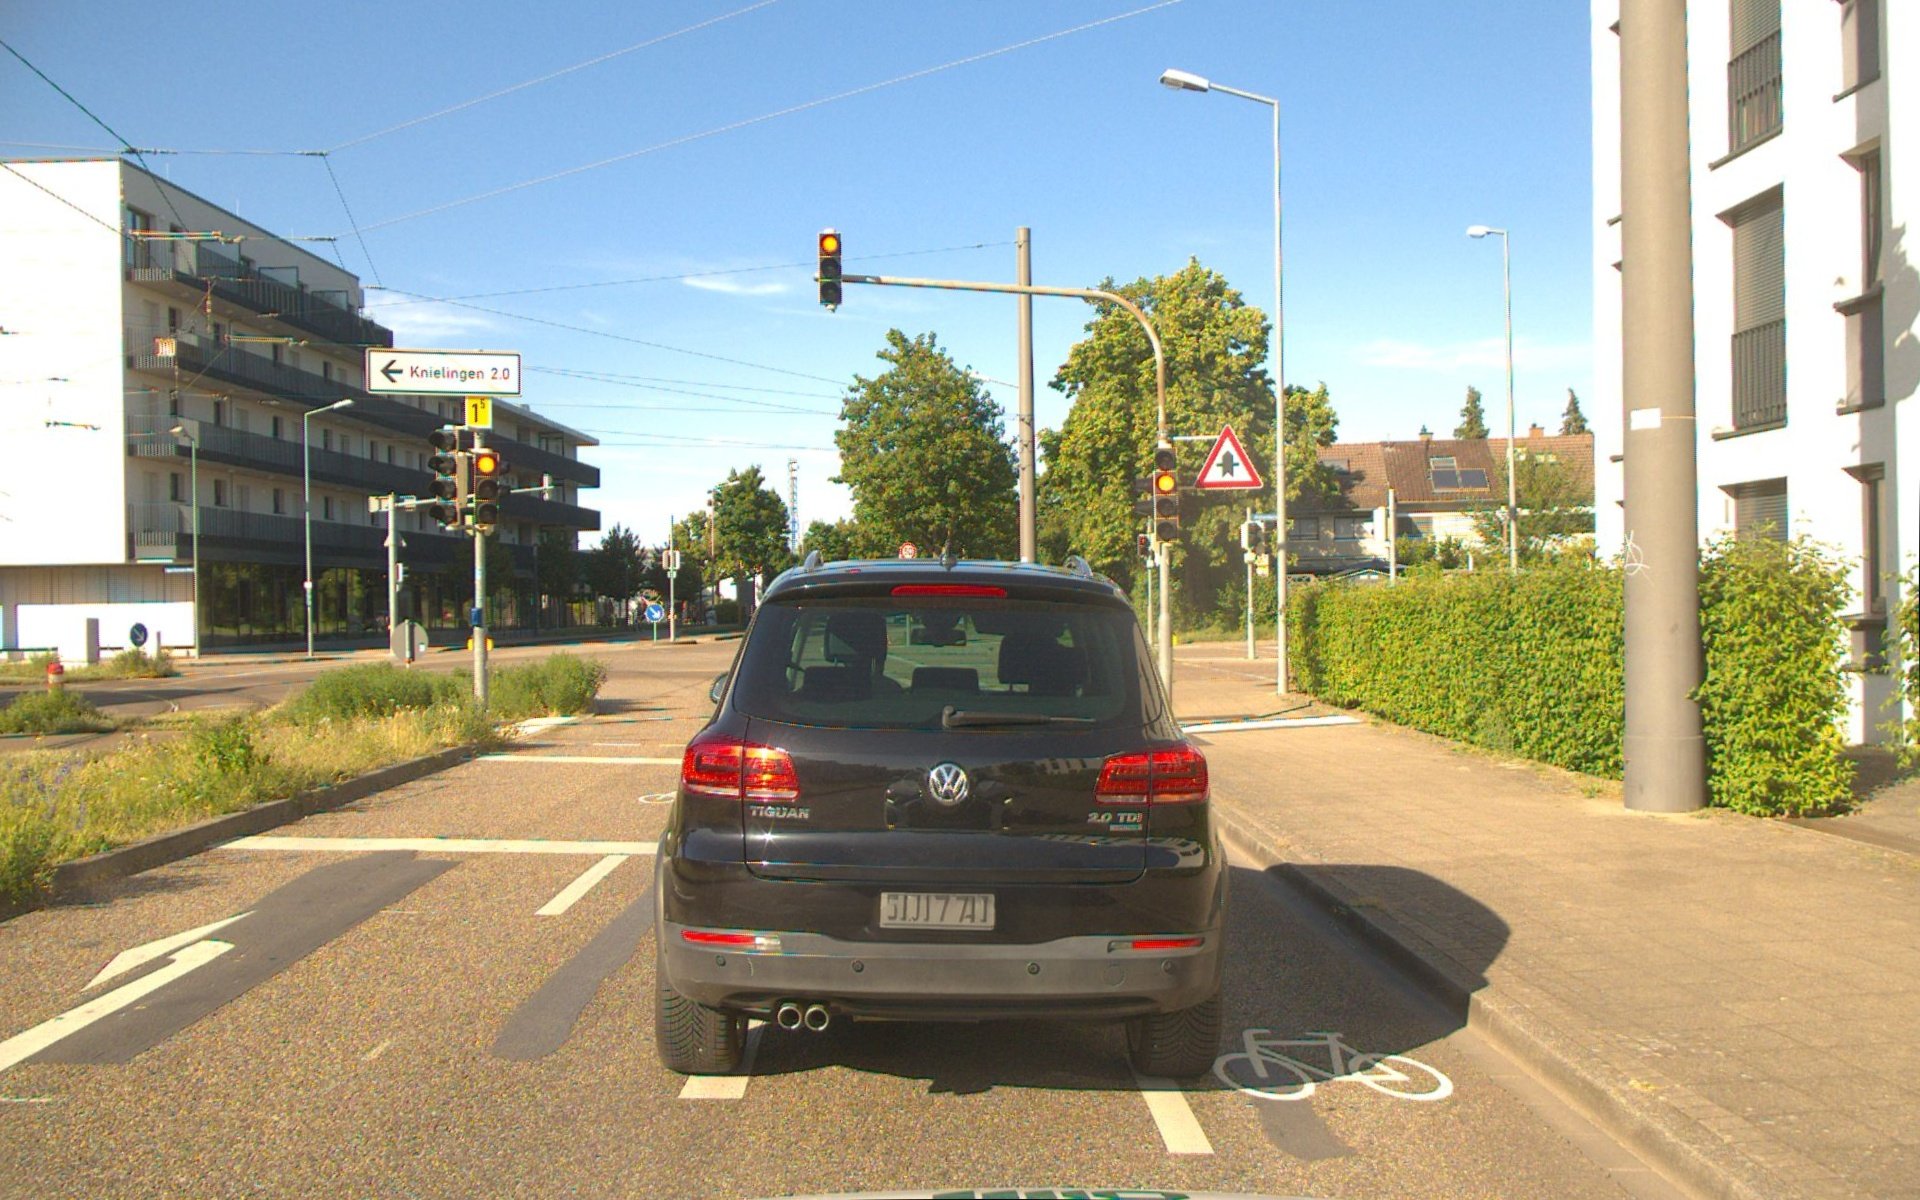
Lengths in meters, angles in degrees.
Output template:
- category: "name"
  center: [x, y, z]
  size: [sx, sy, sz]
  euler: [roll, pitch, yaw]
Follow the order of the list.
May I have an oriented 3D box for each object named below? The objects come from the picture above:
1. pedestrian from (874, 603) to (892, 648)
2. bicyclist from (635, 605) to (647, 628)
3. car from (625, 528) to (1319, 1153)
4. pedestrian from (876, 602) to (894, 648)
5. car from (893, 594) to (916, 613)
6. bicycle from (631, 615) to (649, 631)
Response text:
- category: "pedestrian"
  center: [-2.740, 0.896, 59.065]
  size: [0.590, 1.592, 0.529]
  euler: [0, 0, 4]
- category: "bicyclist"
  center: [-17.836, 0.932, 92.485]
  size: [0.464, 1.245, 0.713]
  euler: [0, 0, 3]
- category: "car"
  center: [-0.028, 0.644, 6.472]
  size: [1.867, 1.671, 3.998]
  euler: [0, 0, -2]
- category: "pedestrian"
  center: [-2.707, 0.902, 59.691]
  size: [0.590, 1.668, 0.529]
  euler: [0, 0, 4]
- category: "car"
  center: [-4.325, 0.272, 128.731]
  size: [1.716, 1.411, 3.998]
  euler: [0, 0, -2]
- category: "bicycle"
  center: [-17.828, 1.284, 92.292]
  size: [0.485, 0.863, 2.079]
  euler: [0, 0, 3]
